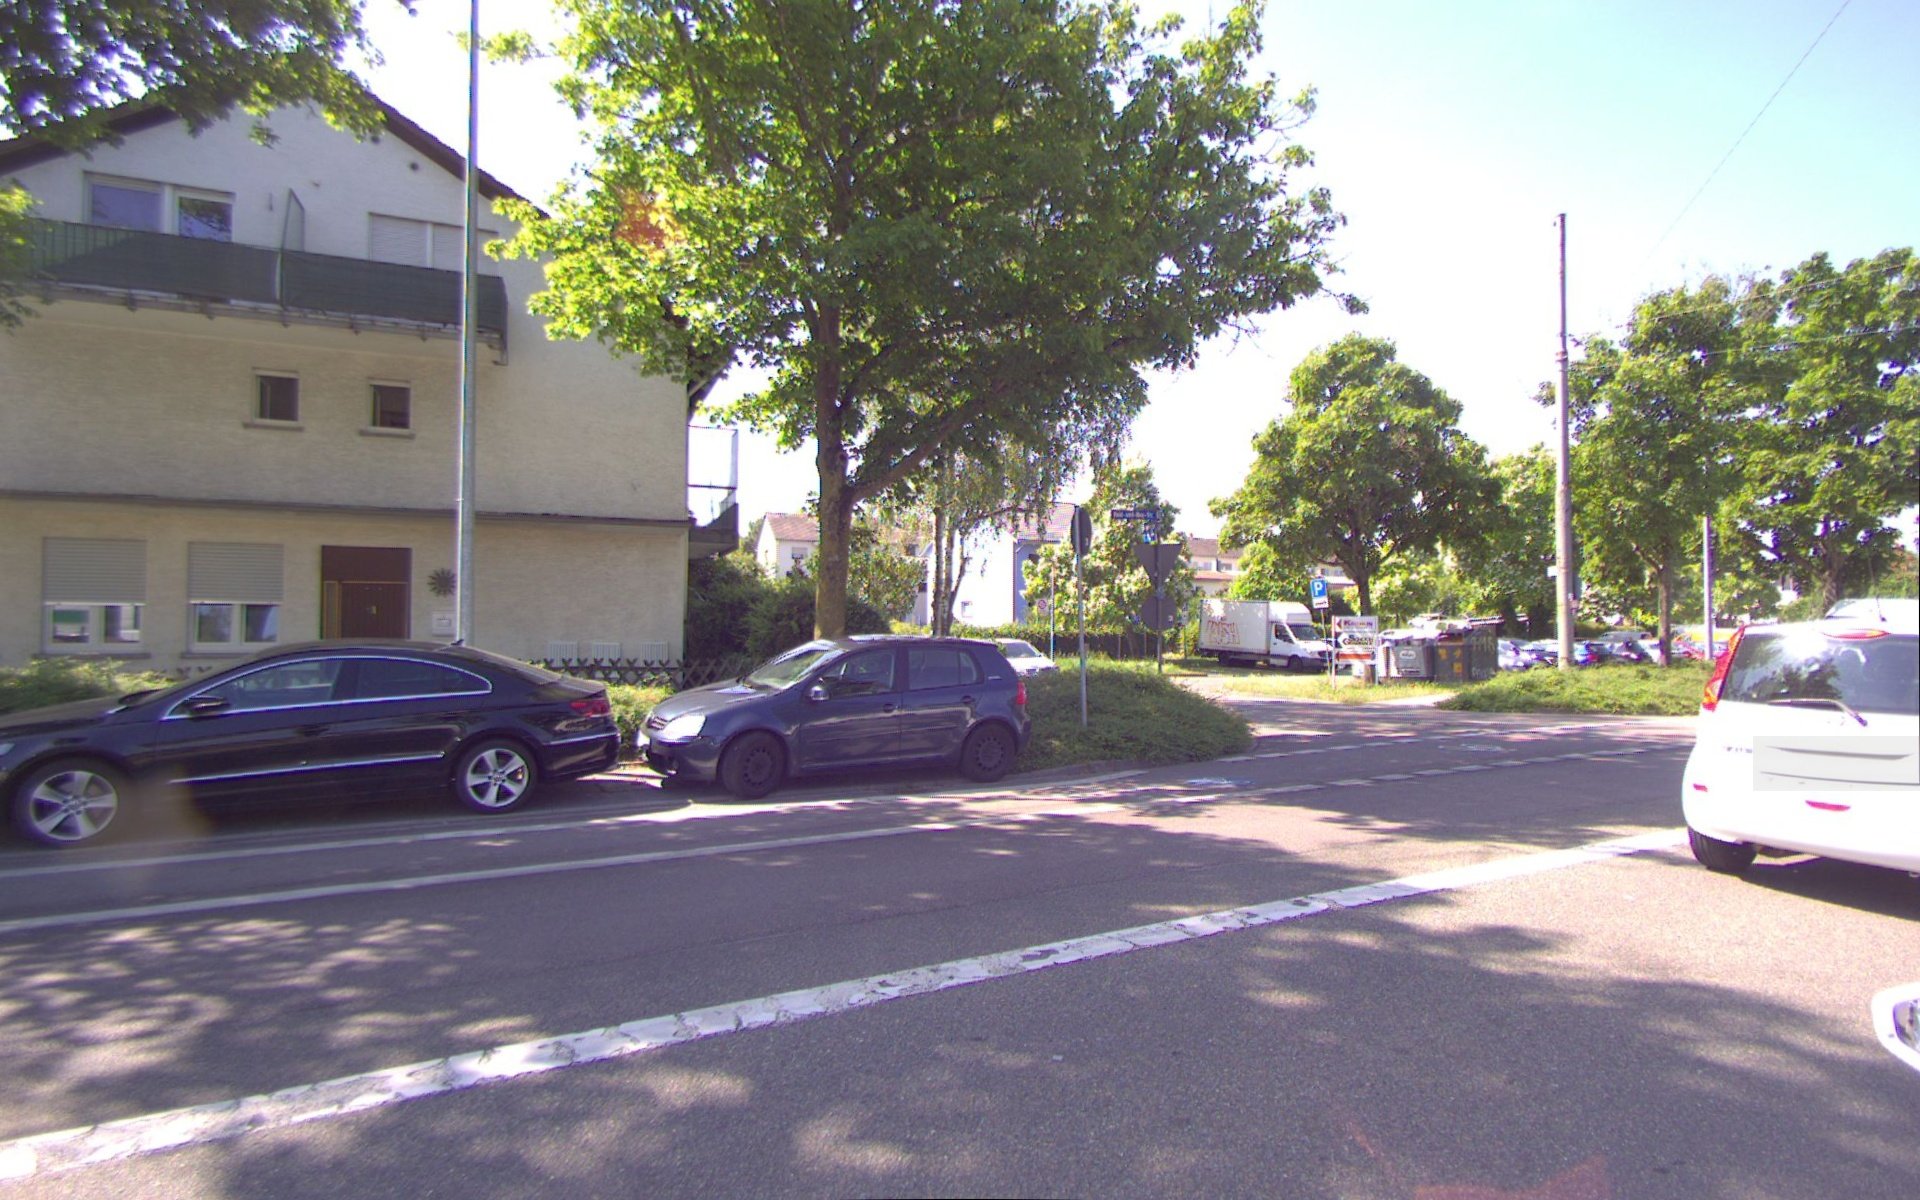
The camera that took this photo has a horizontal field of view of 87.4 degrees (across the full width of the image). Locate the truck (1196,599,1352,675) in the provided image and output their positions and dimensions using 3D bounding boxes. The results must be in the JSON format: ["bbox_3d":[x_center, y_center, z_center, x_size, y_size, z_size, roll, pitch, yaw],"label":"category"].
[{"bbox_3d":[14.467,1.614,46.822,2.646,3.151,6.967,1,0,-30],"label":"truck"}]

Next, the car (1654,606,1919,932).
[{"bbox_3d":[6.403,0.857,6.244,4.491,1.568,1.655,1,-1,-29],"label":"car"}]

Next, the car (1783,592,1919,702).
[{"bbox_3d":[23.787,1.140,25.777,5.745,2.550,2.114,1,0,-29],"label":"car"}]

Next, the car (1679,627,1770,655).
[{"bbox_3d":[54.410,2.903,71.552,2.043,1.811,4.762,2,0,-34],"label":"car"}]

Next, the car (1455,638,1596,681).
[{"bbox_3d":[19.687,2.074,35.124,1.712,1.434,3.964,2,-4,-33],"label":"car"}]

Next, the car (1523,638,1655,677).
[{"bbox_3d":[24.162,2.211,38.717,1.712,1.434,3.964,2,-4,-33],"label":"car"}]

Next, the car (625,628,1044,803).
[{"bbox_3d":[-1.275,1.070,10.478,3.988,1.462,1.718,1,0,-28],"label":"car"}]

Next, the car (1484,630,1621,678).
[{"bbox_3d":[21.474,1.973,36.556,1.712,1.631,3.964,2,-4,-33],"label":"car"}]

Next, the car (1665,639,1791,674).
[{"bbox_3d":[33.153,2.445,43.457,1.712,1.434,3.964,2,-4,-33],"label":"car"}]

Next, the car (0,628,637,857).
[{"bbox_3d":[-5.241,1.003,8.367,4.568,1.434,1.854,1,0,-31],"label":"car"}]

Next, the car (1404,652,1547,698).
[{"bbox_3d":[17.315,2.488,33.900,1.712,1.434,3.964,2,-4,-33],"label":"car"}]

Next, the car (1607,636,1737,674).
[{"bbox_3d":[28.821,2.242,40.786,1.712,1.434,3.964,2,-4,-33],"label":"car"}]

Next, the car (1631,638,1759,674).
[{"bbox_3d":[30.731,2.332,42.087,1.712,1.434,3.964,2,-4,-33],"label":"car"}]

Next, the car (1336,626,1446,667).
[{"bbox_3d":[21.665,2.322,50.699,2.043,1.811,4.762,2,0,-34],"label":"car"}]

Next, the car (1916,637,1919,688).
[{"bbox_3d":[29.400,1.819,28.768,4.230,1.434,1.854,1,0,-31],"label":"car"}]

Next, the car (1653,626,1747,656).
[{"bbox_3d":[50.567,2.773,68.748,2.043,1.811,4.762,2,0,-34],"label":"car"}]

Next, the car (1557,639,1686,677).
[{"bbox_3d":[26.325,2.327,40.087,1.712,1.434,3.964,2,-4,-33],"label":"car"}]

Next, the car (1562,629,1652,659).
[{"bbox_3d":[44.567,2.989,69.285,2.043,1.811,4.762,2,0,-34],"label":"car"}]

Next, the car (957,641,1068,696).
[{"bbox_3d":[1.404,1.921,28.439,1.704,1.434,3.983,1,-3,-20],"label":"car"}]
